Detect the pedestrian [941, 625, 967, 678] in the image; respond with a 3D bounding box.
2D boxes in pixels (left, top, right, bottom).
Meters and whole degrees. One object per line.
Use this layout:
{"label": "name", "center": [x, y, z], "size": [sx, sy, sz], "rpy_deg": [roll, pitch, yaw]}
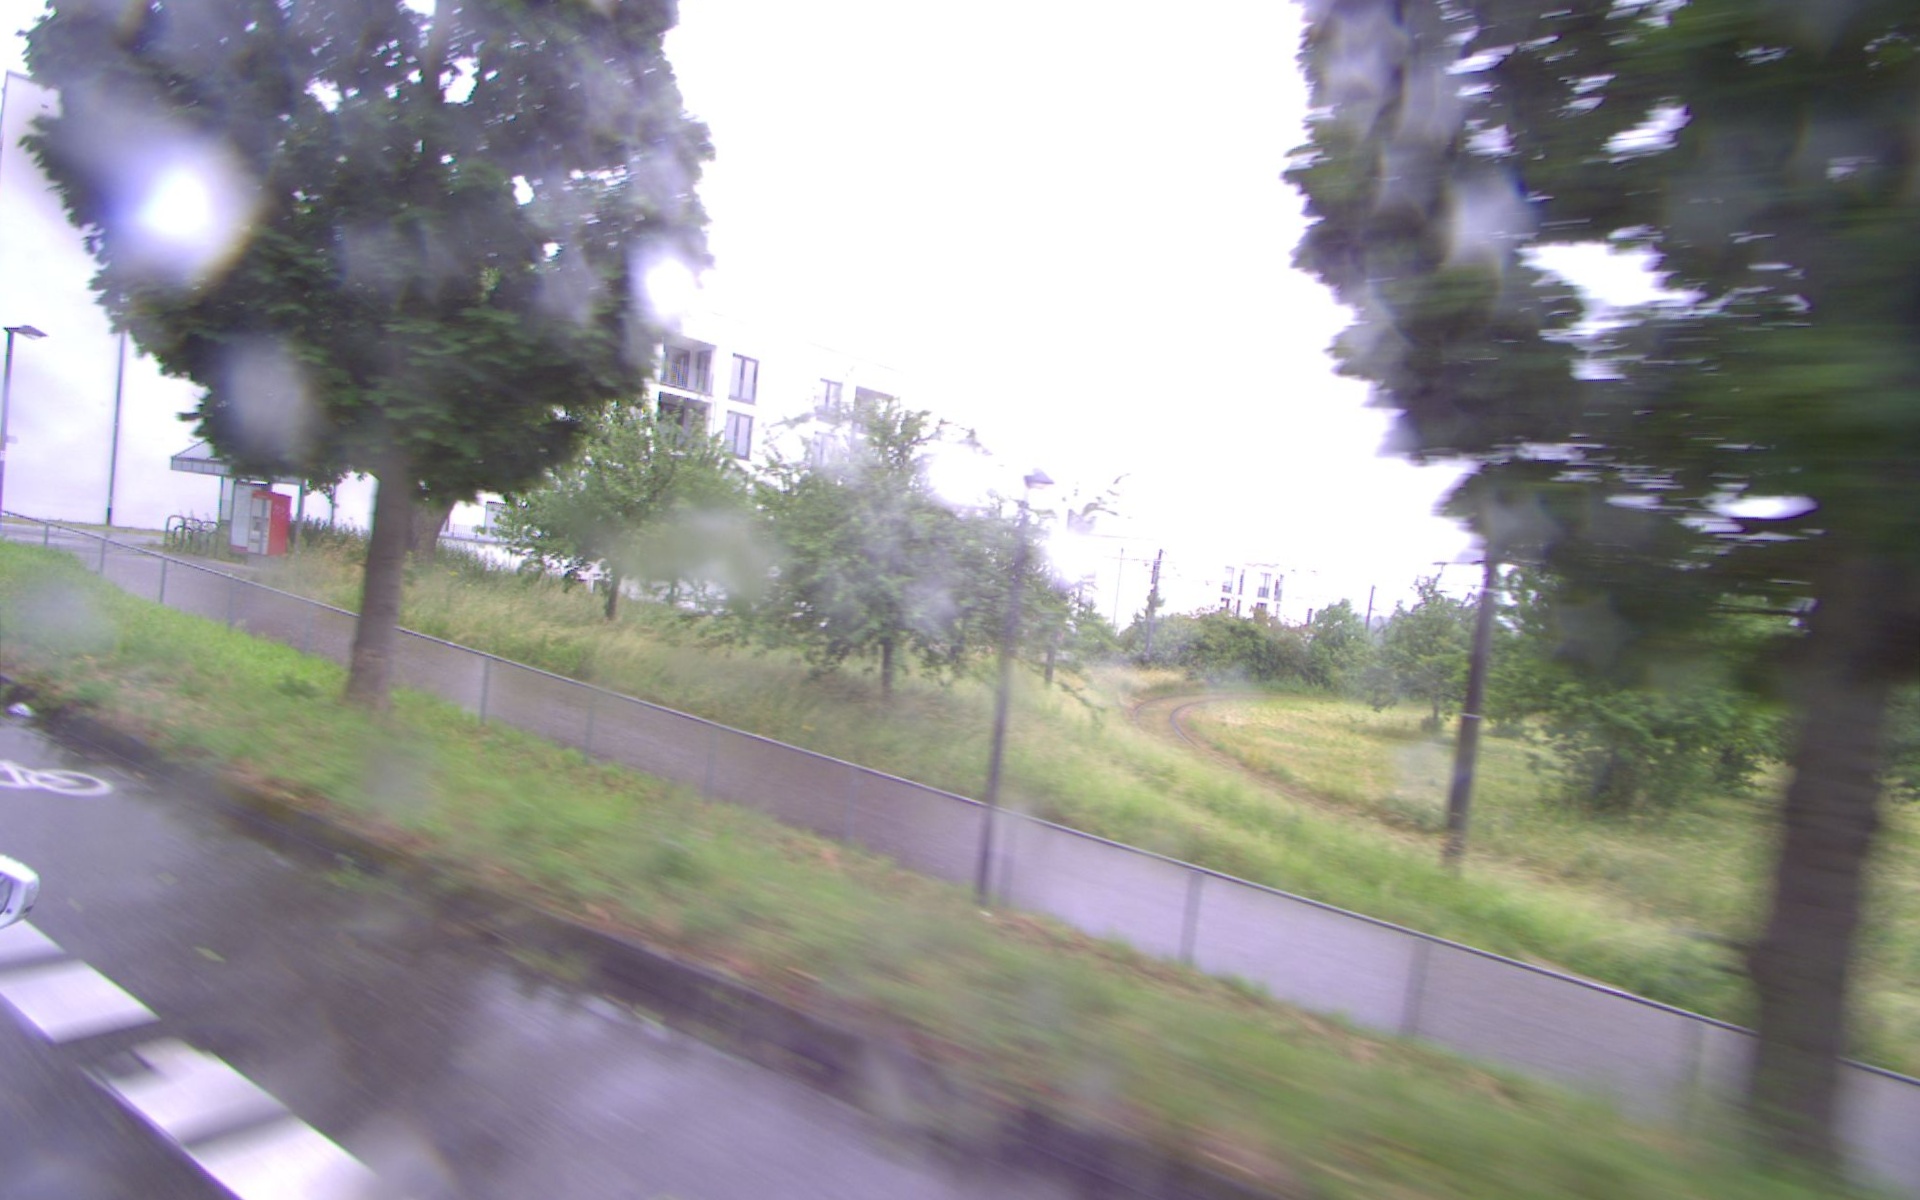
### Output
{"label": "pedestrian", "center": [-0.240, 2.100, 41.537], "size": [0.762, 2.040, 0.769], "rpy_deg": [8, 2, -4]}
